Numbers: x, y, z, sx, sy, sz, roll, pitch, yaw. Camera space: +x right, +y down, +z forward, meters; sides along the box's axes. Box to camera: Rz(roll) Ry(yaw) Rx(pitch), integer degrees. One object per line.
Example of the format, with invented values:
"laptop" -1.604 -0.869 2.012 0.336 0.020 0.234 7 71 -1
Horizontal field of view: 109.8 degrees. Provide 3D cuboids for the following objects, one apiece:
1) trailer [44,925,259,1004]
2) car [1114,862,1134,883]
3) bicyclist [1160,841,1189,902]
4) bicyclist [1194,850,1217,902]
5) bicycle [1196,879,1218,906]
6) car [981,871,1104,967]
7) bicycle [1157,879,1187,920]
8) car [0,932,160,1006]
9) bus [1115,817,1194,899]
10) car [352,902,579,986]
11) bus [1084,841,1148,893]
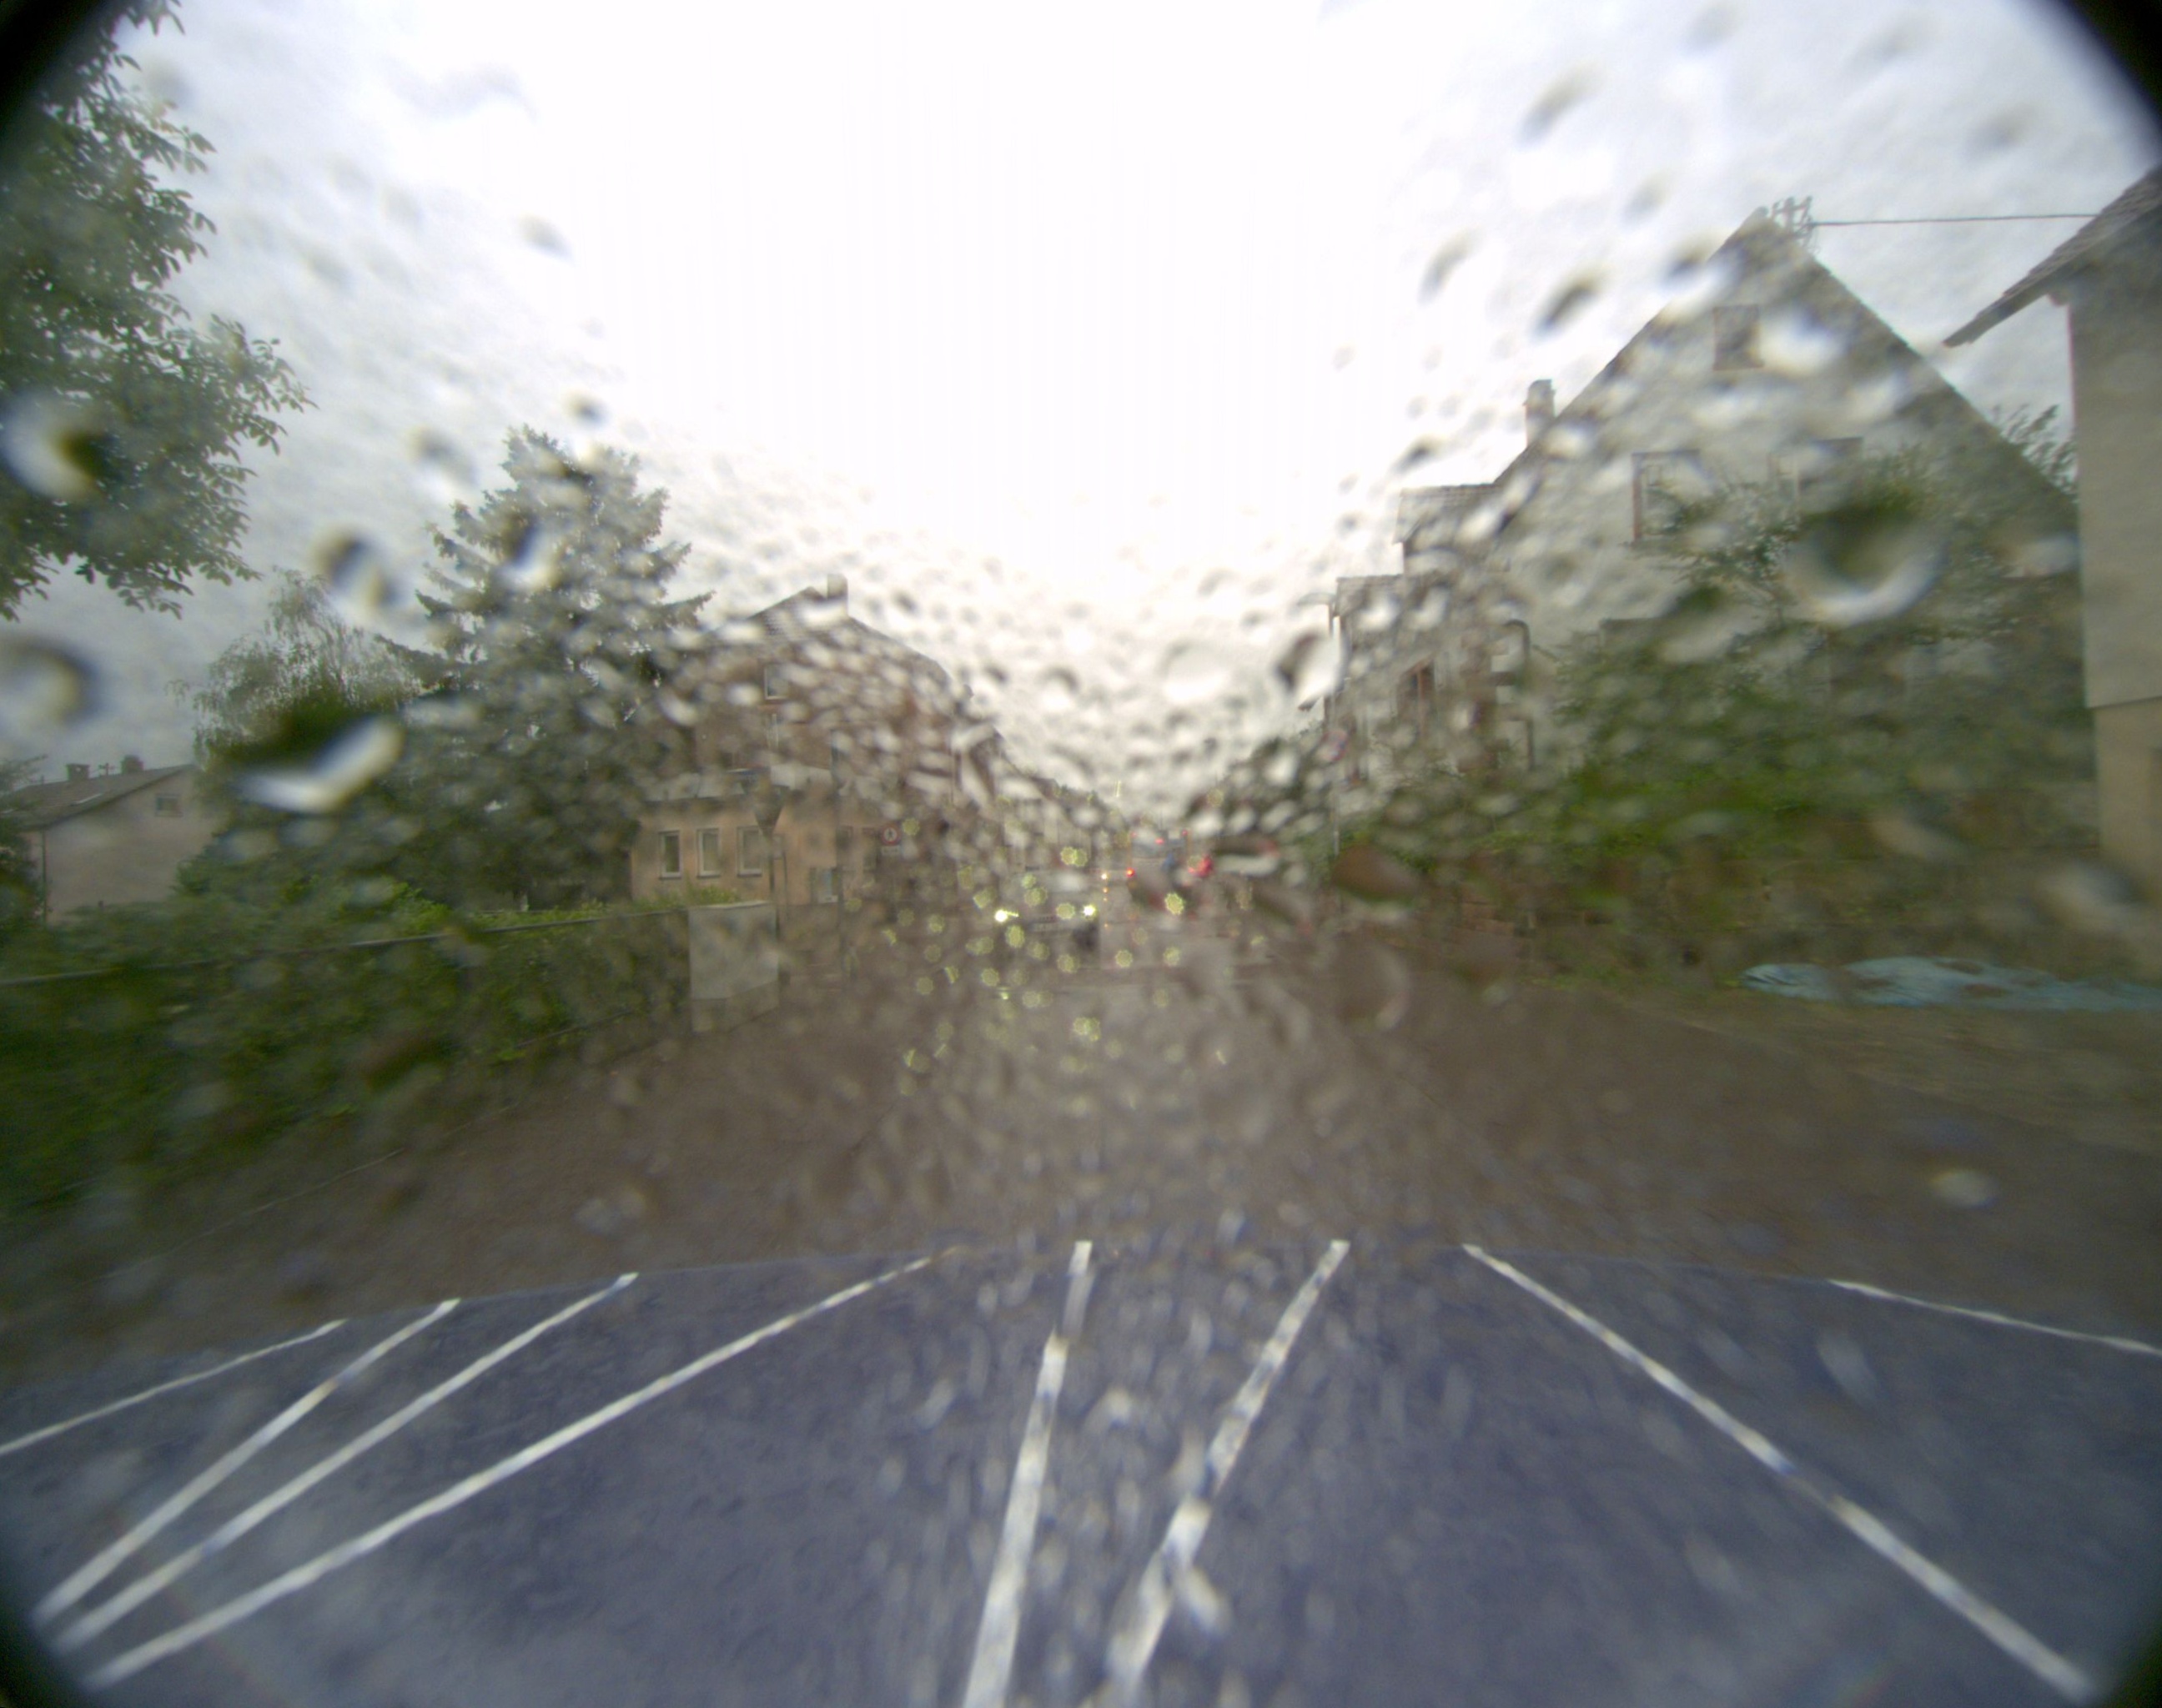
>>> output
"trailer" -23.238 2.759 19.005 4.538 1.558 2.006 -5 0 21
"car" 4.132 1.749 72.552 1.779 1.787 4.189 -3 0 3
"bicyclist" 2.743 0.507 22.333 0.689 1.703 0.703 -3 1 2
"bicyclist" 4.368 0.759 26.659 0.658 1.759 0.704 -4 -2 8
"bicycle" 4.409 1.332 26.669 0.662 0.865 1.936 -4 -2 8
"car" -0.552 1.071 14.020 1.779 1.348 4.189 -3 -1 3
"bicycle" 2.628 1.297 22.212 0.682 1.044 2.339 -1 0 2
"car" -27.429 3.084 20.399 4.088 1.561 2.002 -4 0 18
"bus" 3.427 0.171 34.475 2.812 2.921 11.947 -3 0 6
"car" -12.924 1.885 15.999 3.992 1.462 1.795 -4 0 19
"bus" 2.945 0.829 57.747 3.439 3.391 13.878 -2 0 8
